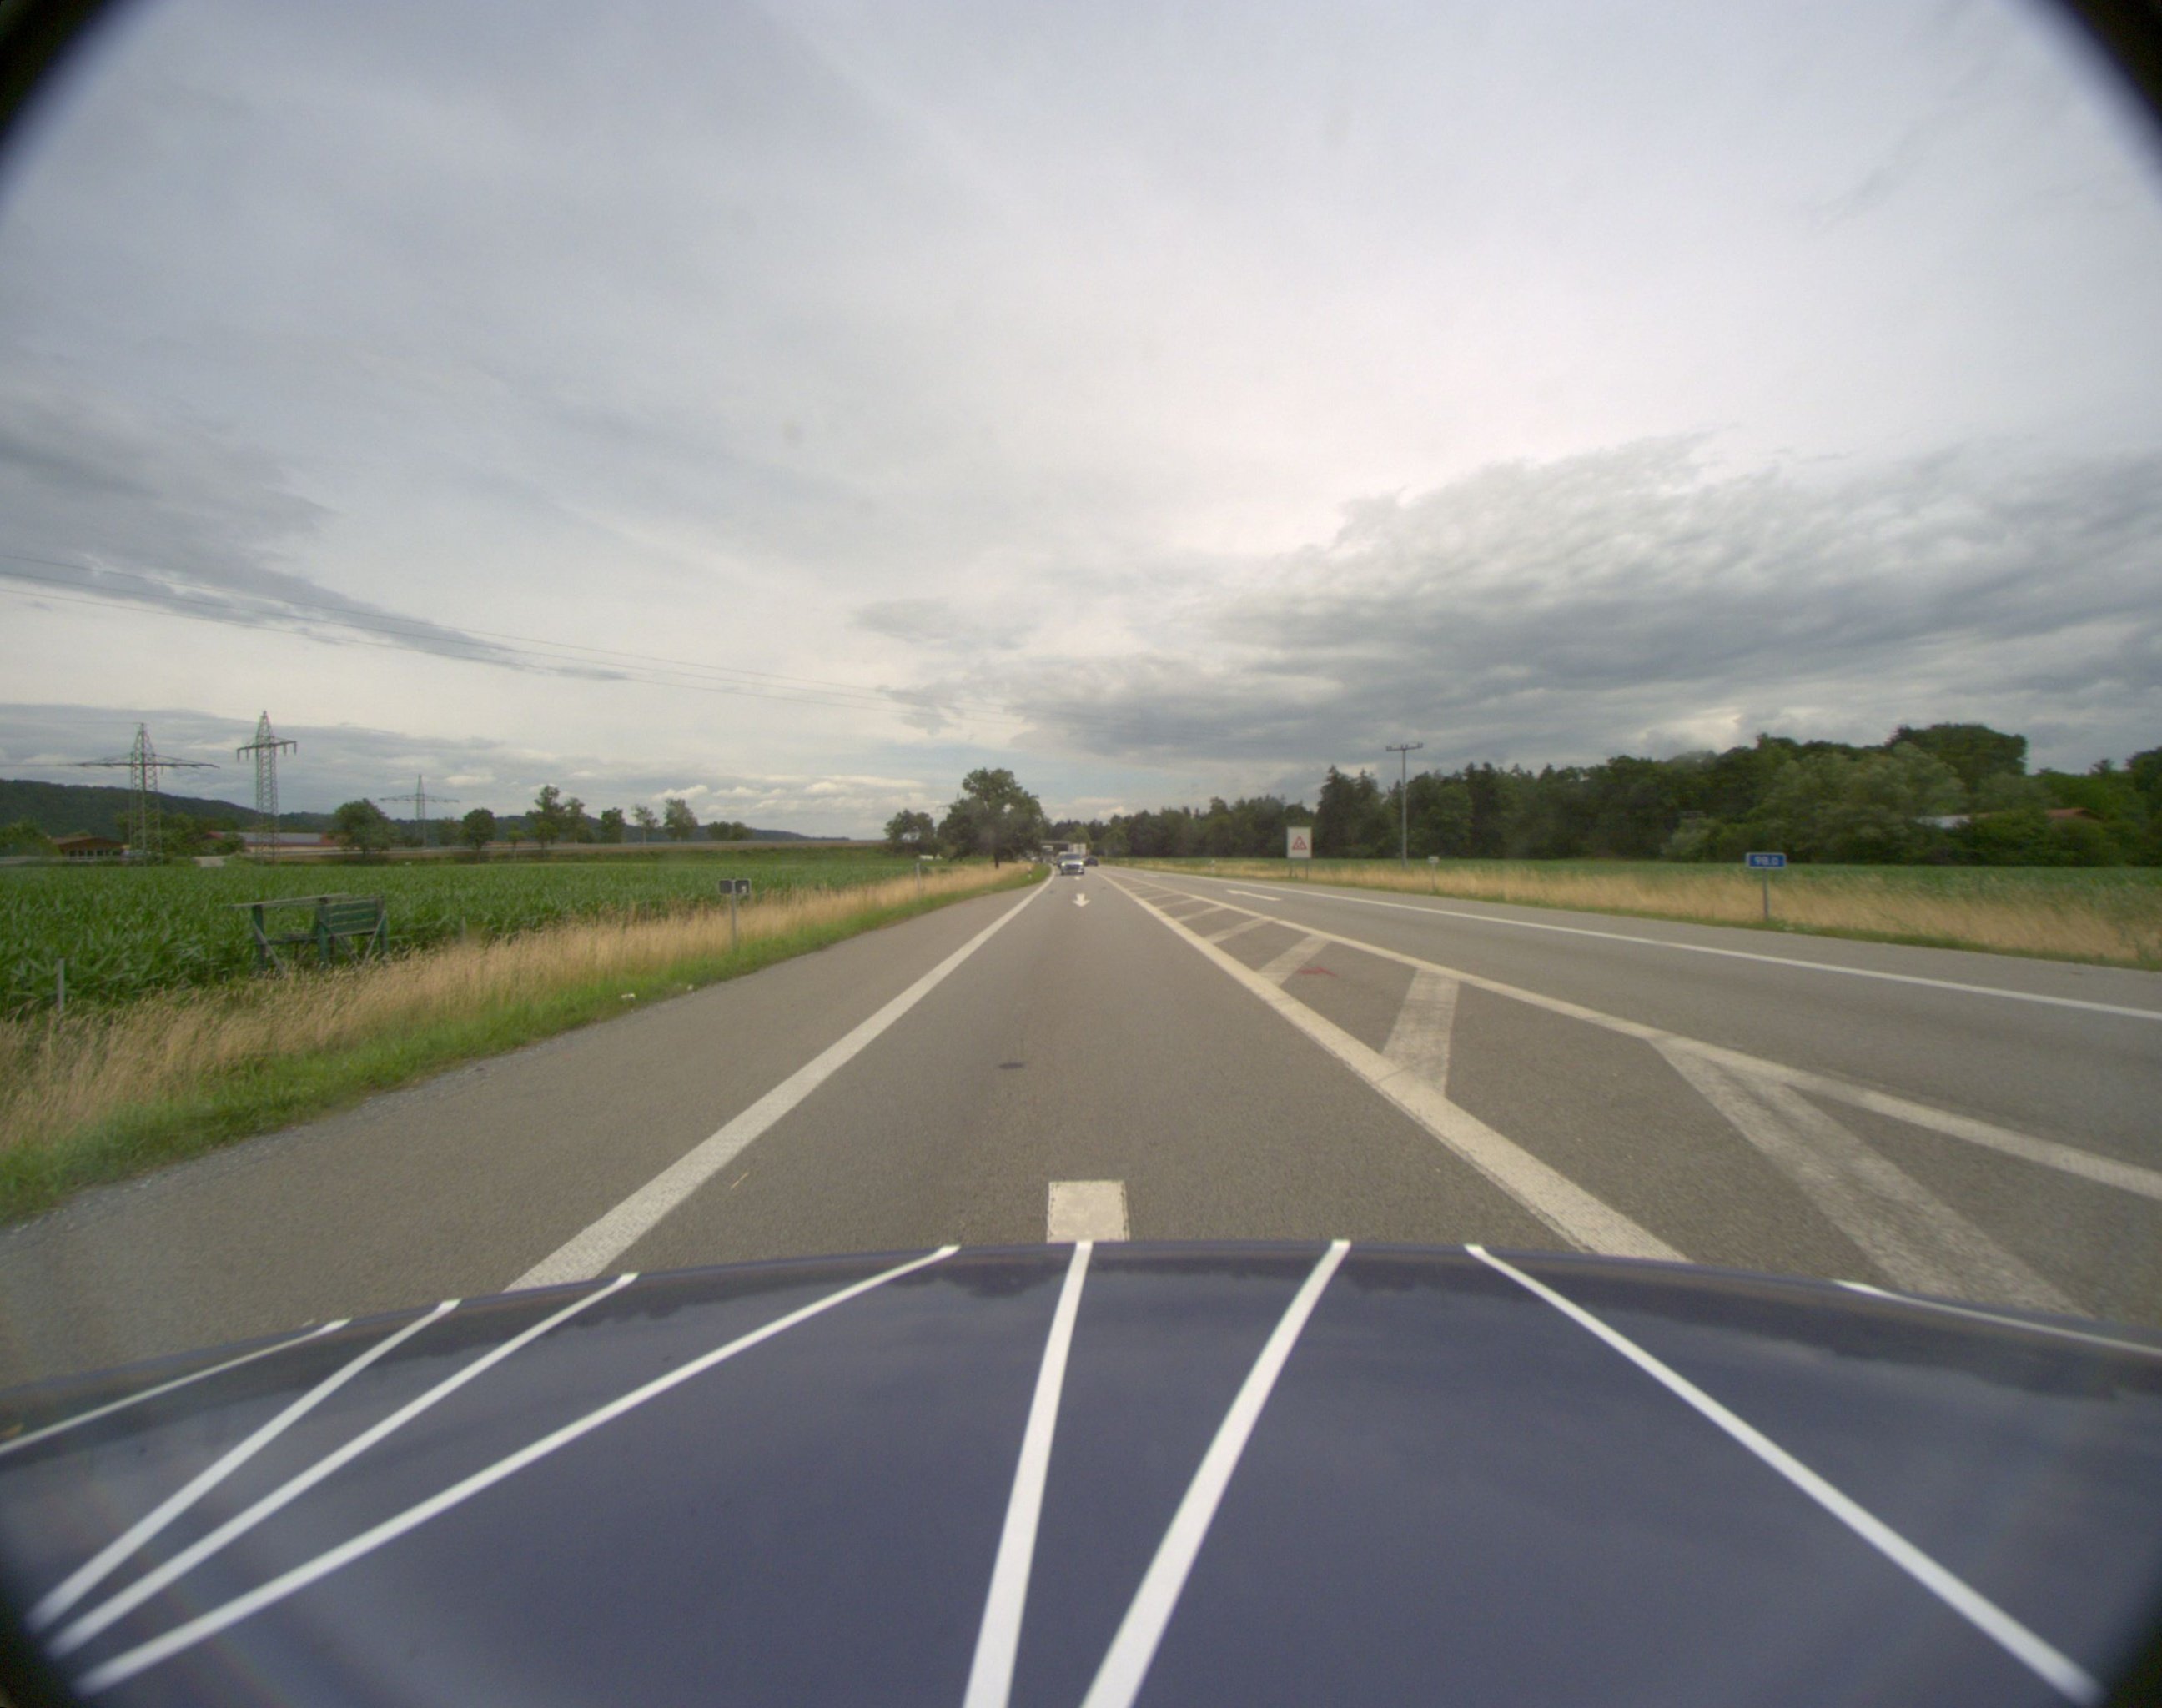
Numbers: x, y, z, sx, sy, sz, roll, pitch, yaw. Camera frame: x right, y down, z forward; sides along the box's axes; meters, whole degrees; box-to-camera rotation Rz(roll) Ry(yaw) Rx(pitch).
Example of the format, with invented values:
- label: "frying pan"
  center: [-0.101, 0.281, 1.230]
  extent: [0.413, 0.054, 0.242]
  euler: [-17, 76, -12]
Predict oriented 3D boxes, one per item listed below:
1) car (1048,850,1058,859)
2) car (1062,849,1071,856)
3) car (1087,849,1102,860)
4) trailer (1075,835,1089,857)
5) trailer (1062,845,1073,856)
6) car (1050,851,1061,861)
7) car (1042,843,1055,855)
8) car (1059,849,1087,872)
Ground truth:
- label: "car"
  center: [-6.777, 0.072, 181.951]
  extent: [1.998, 2.002, 4.000]
  euler: [-2, 1, 3]
- label: "car"
  center: [-3.593, -0.404, 191.693]
  extent: [2.012, 1.648, 4.325]
  euler: [-3, 1, -3]
- label: "car"
  center: [1.987, 0.019, 112.013]
  extent: [1.862, 1.470, 5.196]
  euler: [-2, 1, -1]
- label: "trailer"
  center: [0.110, -1.437, 145.359]
  extent: [2.496, 3.972, 13.075]
  euler: [-1, 0, 0]
- label: "trailer"
  center: [-3.345, -0.795, 186.374]
  extent: [2.188, 2.560, 6.241]
  euler: [-3, 1, -3]
- label: "car"
  center: [-4.597, 0.288, 136.426]
  extent: [1.862, 1.679, 4.112]
  euler: [-2, 1, -1]
- label: "car"
  center: [-4.859, -0.760, 113.878]
  extent: [1.862, 1.679, 4.112]
  euler: [-2, 1, -1]
- label: "car"
  center: [-0.725, 0.515, 63.781]
  extent: [1.924, 1.823, 3.997]
  euler: [-3, 1, -6]
